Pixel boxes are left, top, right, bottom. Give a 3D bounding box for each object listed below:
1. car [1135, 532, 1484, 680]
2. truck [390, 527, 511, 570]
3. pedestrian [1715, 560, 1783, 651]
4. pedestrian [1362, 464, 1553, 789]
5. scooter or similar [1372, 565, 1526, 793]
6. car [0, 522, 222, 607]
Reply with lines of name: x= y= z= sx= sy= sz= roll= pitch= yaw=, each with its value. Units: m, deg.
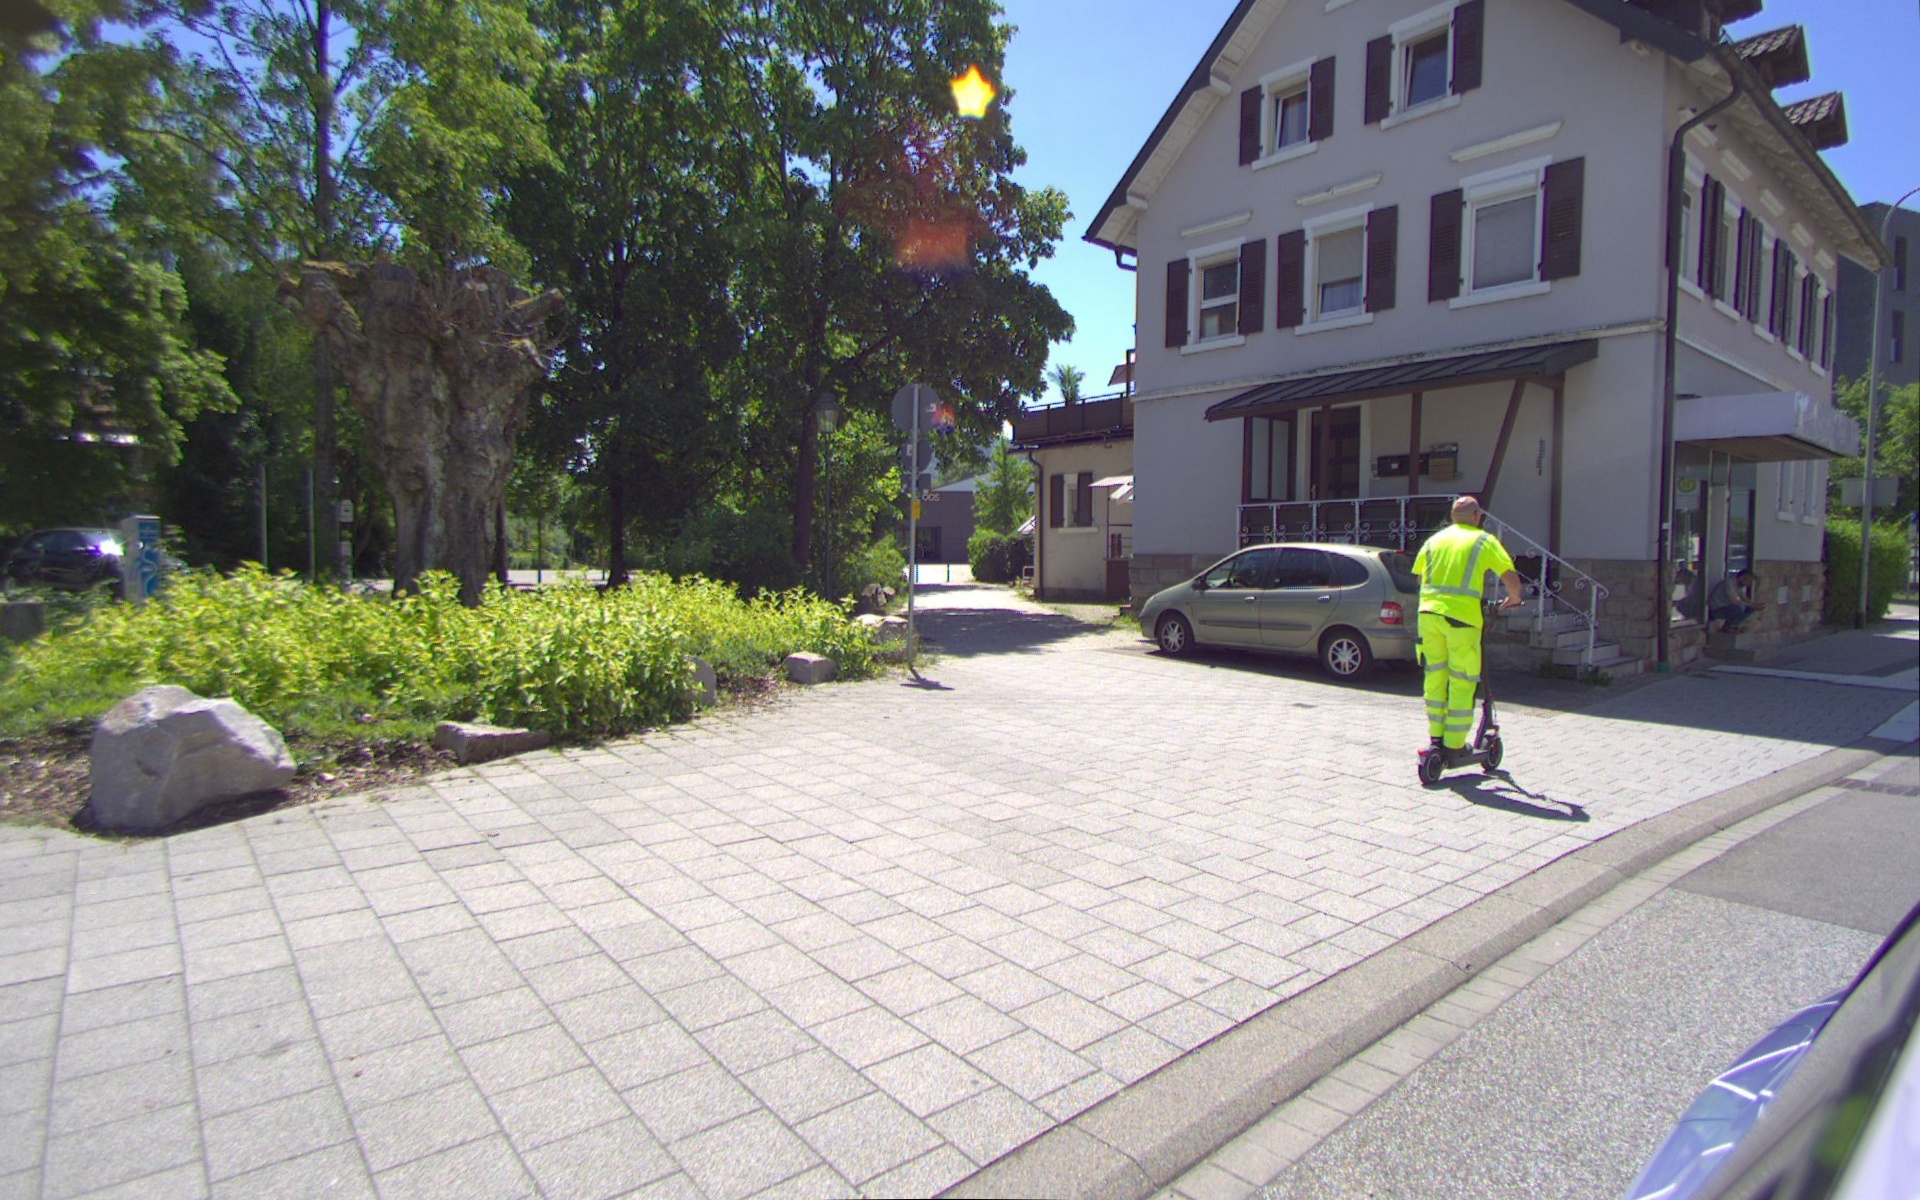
car: x=4.419 y=-0.044 z=13.319 sx=1.762 sy=1.615 sz=3.999 roll=0 pitch=4 yaw=-38
truck: x=-30.466 y=-3.069 z=60.723 sx=6.089 sy=2.474 sz=2.269 roll=0 pitch=0 yaw=-11
pedestrian: x=11.752 y=0.068 z=15.081 sx=0.571 sy=1.301 sz=0.684 roll=-2 pitch=3 yaw=-43
pedestrian: x=3.447 y=0.137 z=7.022 sx=0.886 sy=2.054 sz=0.919 roll=-2 pitch=4 yaw=-45
scooter or similar: x=3.372 y=0.471 z=6.936 sx=0.526 sy=1.389 sz=1.326 roll=3 pitch=4 yaw=45
car: x=-17.581 y=-0.763 z=20.850 sx=3.945 sy=1.621 sz=1.834 roll=1 pitch=3 yaw=17
